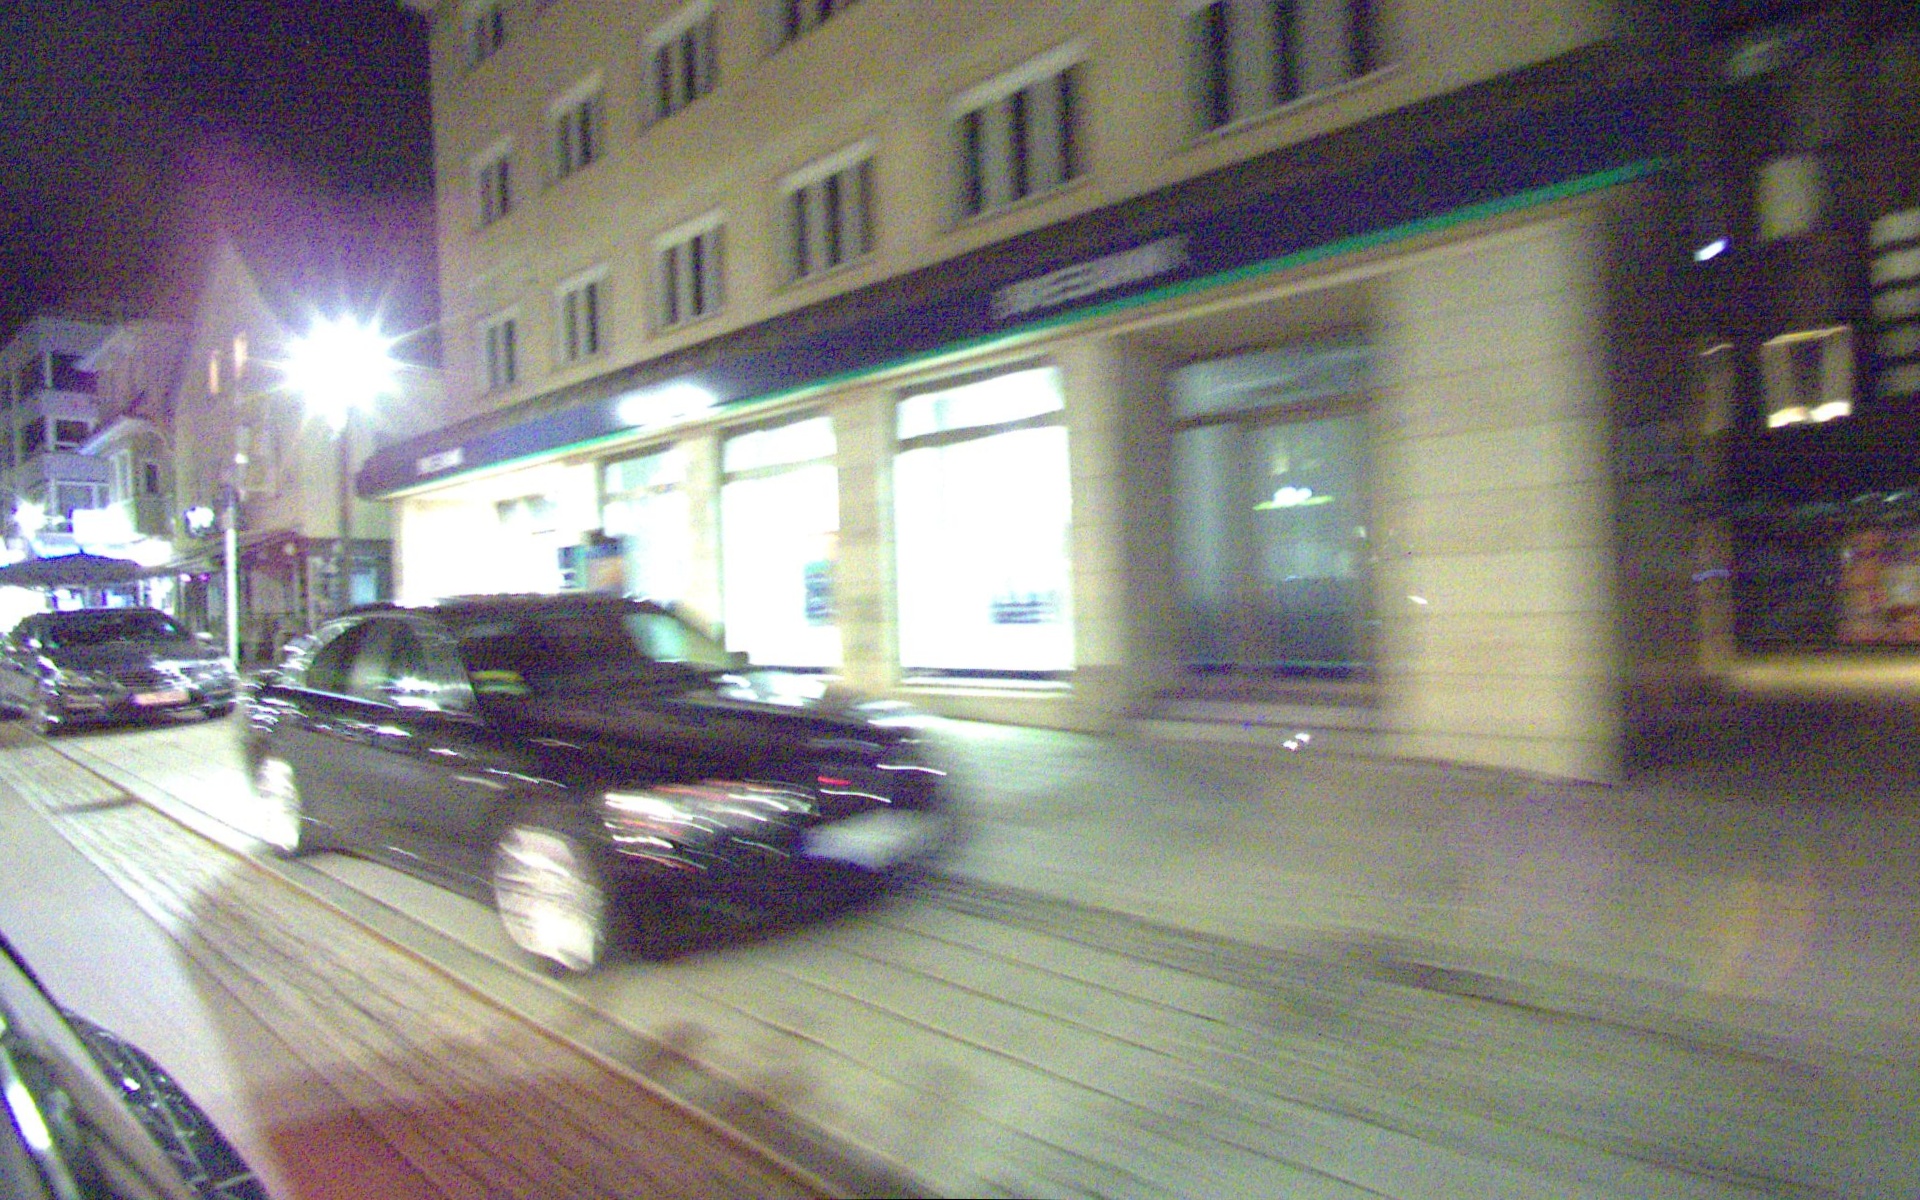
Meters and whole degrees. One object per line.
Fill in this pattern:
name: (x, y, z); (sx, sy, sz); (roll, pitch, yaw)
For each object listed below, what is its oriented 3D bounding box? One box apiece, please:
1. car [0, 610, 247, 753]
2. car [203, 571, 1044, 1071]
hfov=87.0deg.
car: (-11.029, 0.924, 12.946); (4.518, 1.481, 1.882); (-2, 0, 38)
car: (-2.016, 0.691, 5.188); (4.617, 1.475, 1.827); (-2, 1, 38)
